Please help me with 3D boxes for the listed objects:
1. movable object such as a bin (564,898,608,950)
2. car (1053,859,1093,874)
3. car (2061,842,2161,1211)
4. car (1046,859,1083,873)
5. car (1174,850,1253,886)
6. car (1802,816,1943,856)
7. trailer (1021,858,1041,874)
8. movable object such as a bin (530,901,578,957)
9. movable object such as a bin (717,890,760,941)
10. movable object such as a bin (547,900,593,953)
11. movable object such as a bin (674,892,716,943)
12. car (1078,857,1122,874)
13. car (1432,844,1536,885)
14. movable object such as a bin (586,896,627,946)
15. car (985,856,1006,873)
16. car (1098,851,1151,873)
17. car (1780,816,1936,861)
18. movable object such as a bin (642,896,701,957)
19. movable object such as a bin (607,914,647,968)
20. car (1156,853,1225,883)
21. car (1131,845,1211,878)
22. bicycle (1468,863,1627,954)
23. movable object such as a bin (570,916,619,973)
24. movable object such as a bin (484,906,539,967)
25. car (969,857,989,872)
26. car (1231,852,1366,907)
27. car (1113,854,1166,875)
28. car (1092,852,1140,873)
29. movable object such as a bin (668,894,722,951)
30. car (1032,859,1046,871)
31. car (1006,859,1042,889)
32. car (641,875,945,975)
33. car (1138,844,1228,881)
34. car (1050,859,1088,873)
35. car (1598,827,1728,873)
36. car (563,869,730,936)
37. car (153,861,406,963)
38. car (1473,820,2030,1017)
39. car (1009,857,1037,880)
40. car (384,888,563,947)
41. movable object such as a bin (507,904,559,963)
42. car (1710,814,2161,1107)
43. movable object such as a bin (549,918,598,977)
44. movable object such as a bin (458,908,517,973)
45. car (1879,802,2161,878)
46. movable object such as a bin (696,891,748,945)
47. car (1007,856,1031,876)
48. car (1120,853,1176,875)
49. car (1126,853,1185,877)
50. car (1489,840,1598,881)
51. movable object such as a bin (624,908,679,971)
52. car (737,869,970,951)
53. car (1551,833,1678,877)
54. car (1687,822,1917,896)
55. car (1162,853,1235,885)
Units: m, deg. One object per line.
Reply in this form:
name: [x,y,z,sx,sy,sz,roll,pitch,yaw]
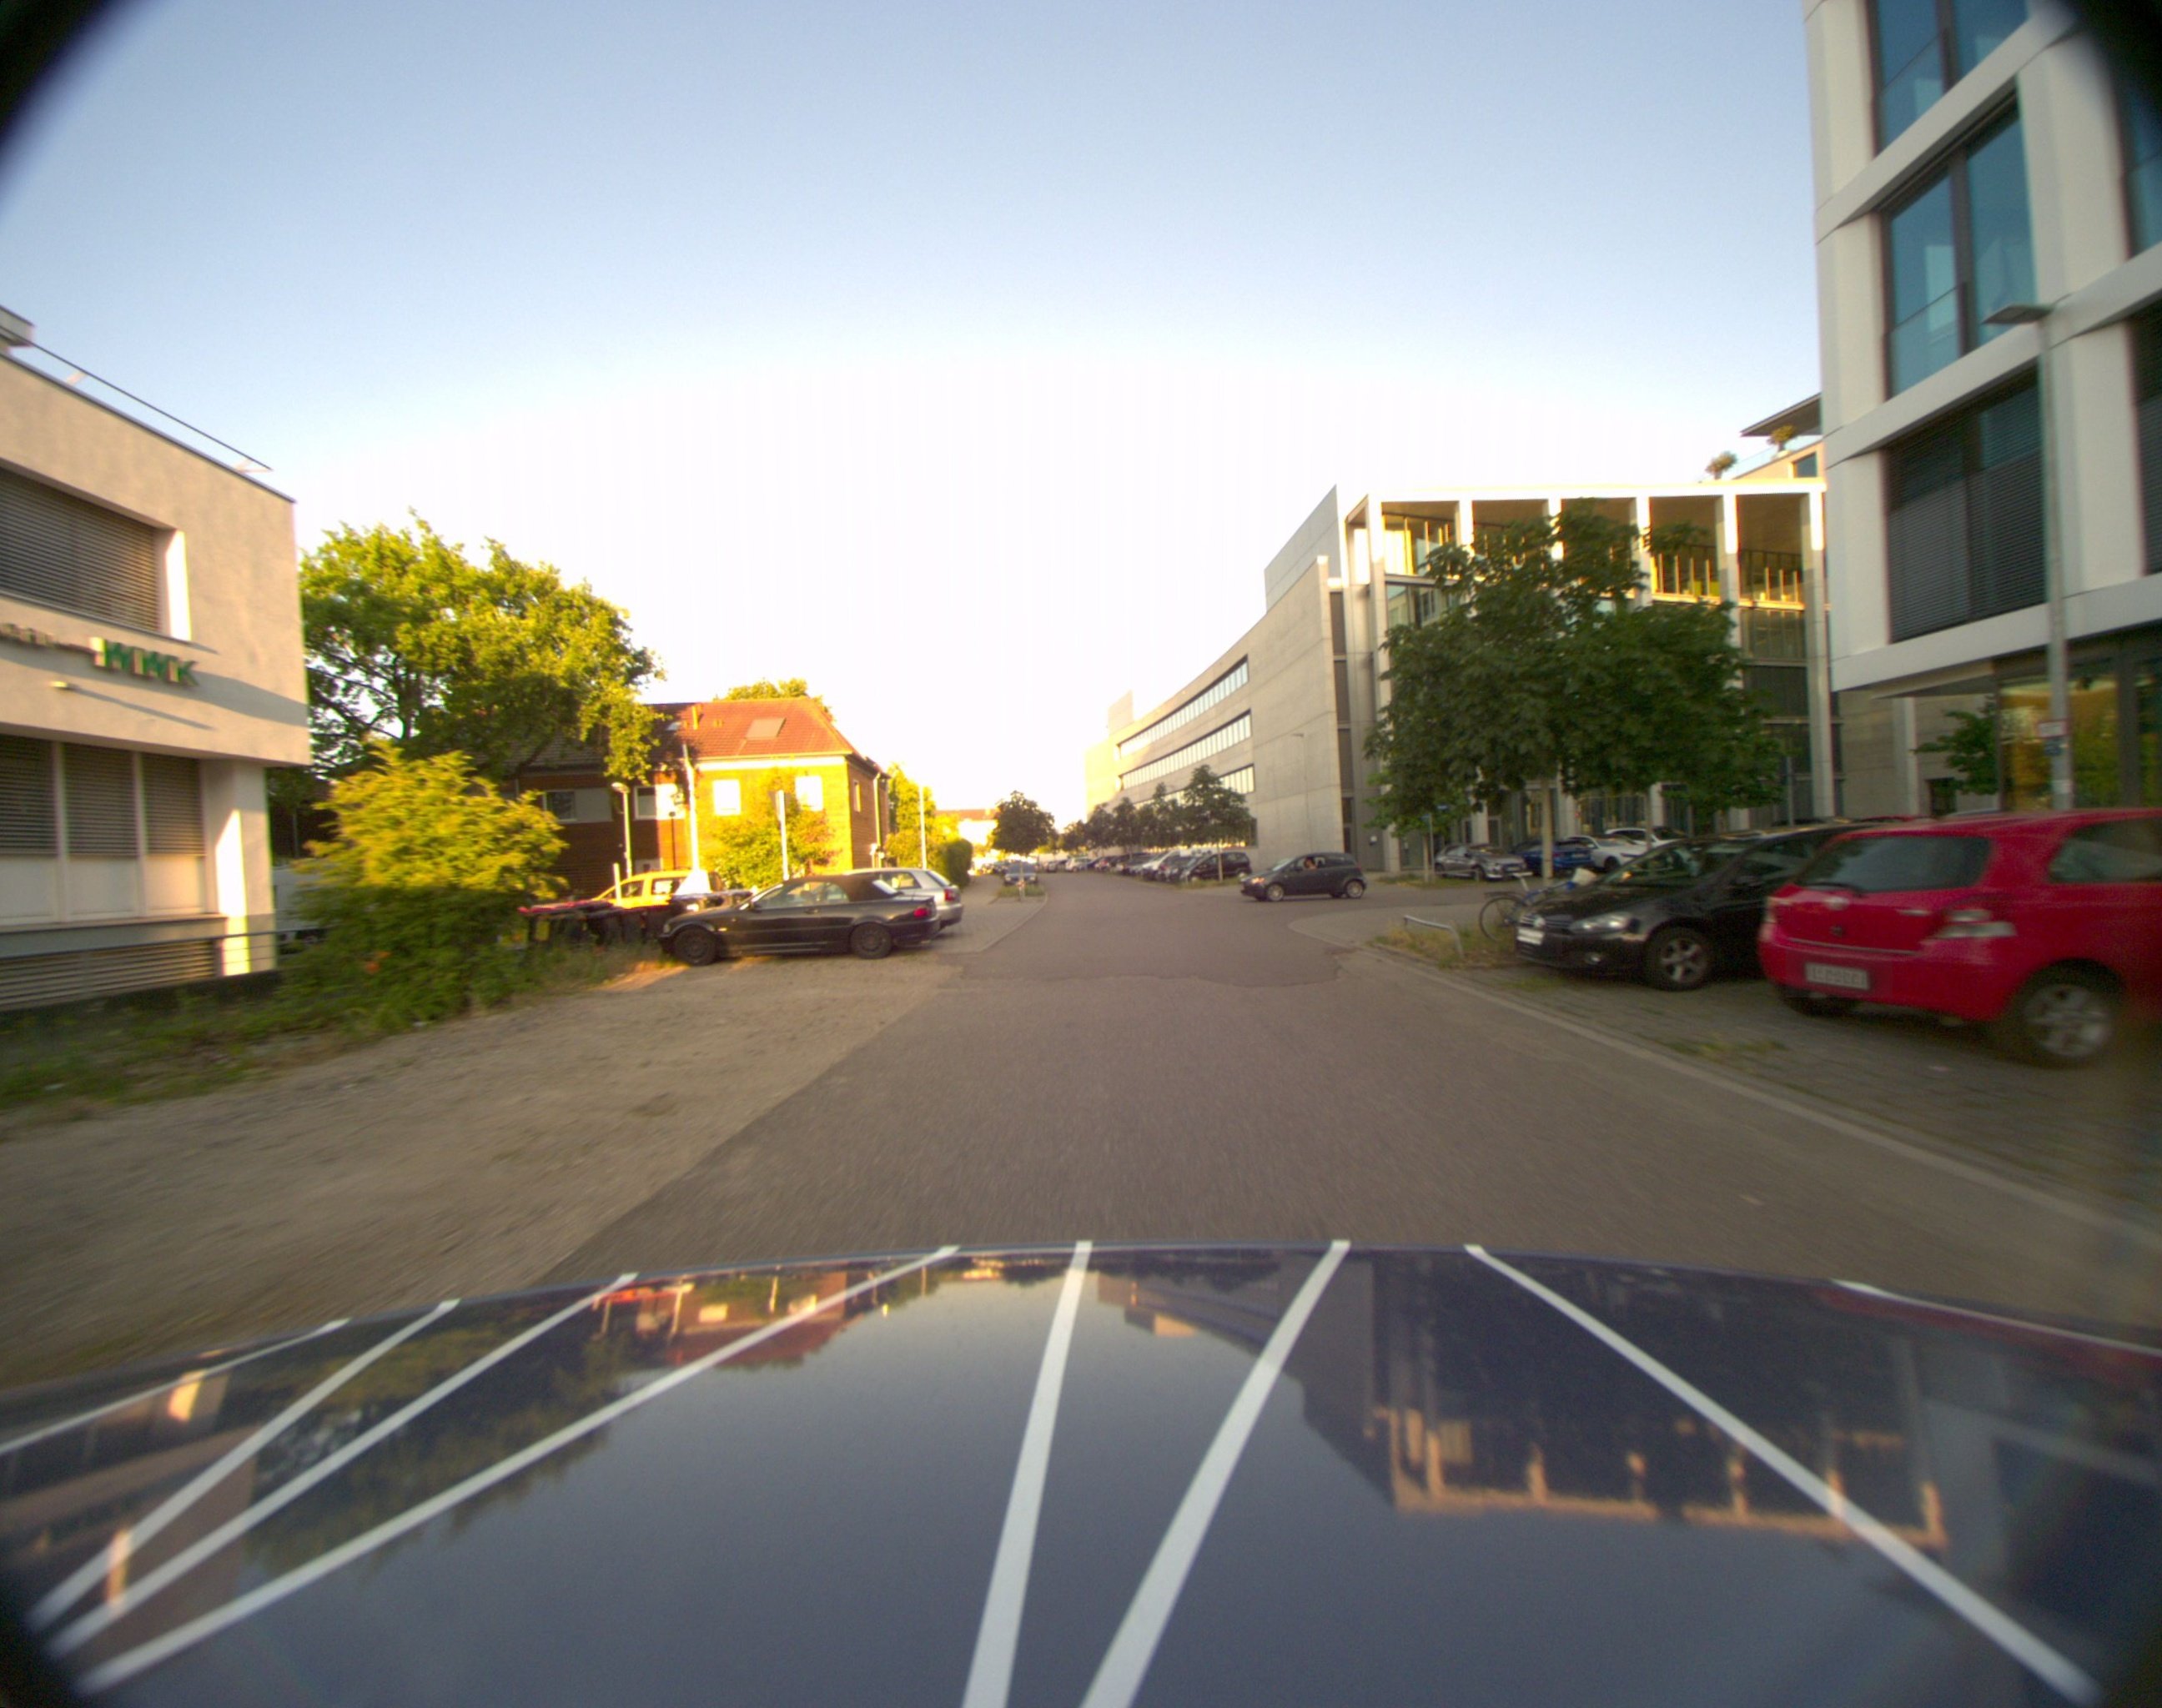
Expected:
movable object such as a bin: [-9.519,1.334,14.624,0.468,0.926,0.526,-2,1,-3]
car: [-0.905,1.379,84.889,4.029,1.340,1.798,-5,0,-11]
car: [6.481,0.578,2.514,4.118,1.509,1.780,-4,0,0]
car: [-1.944,1.383,89.738,4.029,1.340,1.798,-5,0,-11]
car: [6.767,0.697,39.162,3.655,1.538,1.725,-5,0,-1]
car: [32.775,-0.750,31.612,1.649,1.497,3.854,-3,2,-7]
trailer: [-5.511,1.296,83.461,1.701,1.611,3.761,-2,0,-11]
movable object such as a bin: [-9.396,1.333,13.558,0.468,0.926,0.526,-2,1,-3]
movable object such as a bin: [-7.397,1.311,16.446,0.645,1.015,0.711,-3,0,-10]
movable object such as a bin: [-9.470,1.334,14.092,0.468,0.926,0.526,-2,1,-3]
movable object such as a bin: [-8.176,1.340,16.104,0.645,1.015,0.446,-3,0,-10]
car: [1.862,1.090,74.871,4.029,1.340,1.798,-5,0,-11]
car: [15.473,0.344,29.399,1.649,1.378,3.815,-3,2,-7]
movable object such as a bin: [-9.480,1.331,15.195,0.468,0.926,0.526,-2,1,-3]
car: [-7.963,0.974,70.942,1.771,1.454,4.366,-2,0,-5]
car: [3.699,0.687,64.978,4.029,1.574,1.798,-5,0,-11]
car: [30.413,-0.625,29.935,1.649,1.565,4.133,-3,2,-7]
movable object such as a bin: [-7.538,1.323,14.008,0.707,1.015,0.711,-3,0,-10]
movable object such as a bin: [-7.708,1.465,12.905,0.415,0.852,0.396,-3,0,-6]
car: [6.369,0.779,44.388,3.655,1.416,1.725,-5,0,-2]
car: [6.147,0.530,52.115,5.084,1.816,1.888,-5,0,-6]
bicycle: [6.169,0.707,10.101,1.700,1.059,0.566,-4,0,1]
movable object such as a bin: [-7.938,1.475,12.409,0.500,0.852,0.396,-3,0,-6]
movable object such as a bin: [-9.236,1.330,12.341,0.468,0.926,0.526,-2,1,-3]
car: [-10.439,1.048,77.974,1.771,1.454,4.366,-2,0,-5]
car: [6.881,0.773,24.234,3.735,1.486,1.649,-3,0,-4]
car: [4.530,0.800,59.254,3.813,1.353,1.798,-5,0,-6]
car: [3.189,0.794,70.019,4.029,1.574,1.798,-5,0,-11]
movable object such as a bin: [-7.513,1.320,14.834,0.707,1.015,0.711,-3,0,-10]
car: [-6.080,1.571,109.934,1.799,1.442,4.026,-5,0,-6]
car: [-2.974,1.023,40.494,1.681,1.454,4.367,-2,0,-2]
car: [-4.584,1.110,12.668,4.327,1.326,1.895,-2,1,-3]
car: [6.271,0.525,47.099,5.084,1.870,1.888,-5,0,-6]
car: [-1.403,1.387,87.305,4.029,1.340,1.798,-5,0,-11]
car: [22.908,-0.182,30.136,1.649,1.619,4.133,-3,2,-7]
car: [-13.049,1.429,23.036,3.952,1.755,1.782,-3,-1,-6]
car: [-23.069,1.626,22.079,4.753,2.544,2.097,-3,-1,-6]
car: [6.645,0.596,7.896,4.119,1.509,1.845,-4,0,-1]
car: [-4.031,0.967,52.742,1.771,1.454,4.366,-2,0,-5]
car: [-17.892,1.837,22.548,3.608,1.446,1.957,-3,-1,-6]
movable object such as a bin: [-9.286,1.330,12.881,0.468,0.926,0.526,-2,1,-3]
car: [7.177,0.536,5.212,4.118,1.509,1.845,-4,0,0]
movable object such as a bin: [-7.990,1.470,11.977,0.477,0.852,0.396,-3,0,-6]
movable object such as a bin: [-9.159,1.329,11.746,0.468,0.926,0.526,-2,1,-3]
car: [23.985,-0.297,19.695,1.730,1.642,4.370,-4,0,-5]
movable object such as a bin: [-7.391,1.313,15.676,0.758,1.015,0.711,-3,0,-10]
car: [-4.834,0.896,59.286,1.771,1.454,4.366,-2,0,-5]
car: [4.983,0.746,56.723,3.813,1.353,1.798,-5,0,-6]
car: [5.317,0.801,54.154,3.813,1.353,1.798,-5,0,-6]
car: [17.989,0.192,29.781,1.561,1.420,3.901,-3,2,-7]
movable object such as a bin: [-7.580,1.495,13.438,0.623,1.015,0.561,-3,0,-6]
car: [-4.352,1.052,15.094,4.067,1.399,1.896,-1,0,-3]
car: [20.397,-0.004,29.295,1.649,1.483,4.133,-3,2,-7]
car: [16.976,0.128,18.176,1.730,1.487,3.722,-4,0,-5]
car: [6.443,0.814,41.814,3.655,1.416,1.725,-5,0,-1]
